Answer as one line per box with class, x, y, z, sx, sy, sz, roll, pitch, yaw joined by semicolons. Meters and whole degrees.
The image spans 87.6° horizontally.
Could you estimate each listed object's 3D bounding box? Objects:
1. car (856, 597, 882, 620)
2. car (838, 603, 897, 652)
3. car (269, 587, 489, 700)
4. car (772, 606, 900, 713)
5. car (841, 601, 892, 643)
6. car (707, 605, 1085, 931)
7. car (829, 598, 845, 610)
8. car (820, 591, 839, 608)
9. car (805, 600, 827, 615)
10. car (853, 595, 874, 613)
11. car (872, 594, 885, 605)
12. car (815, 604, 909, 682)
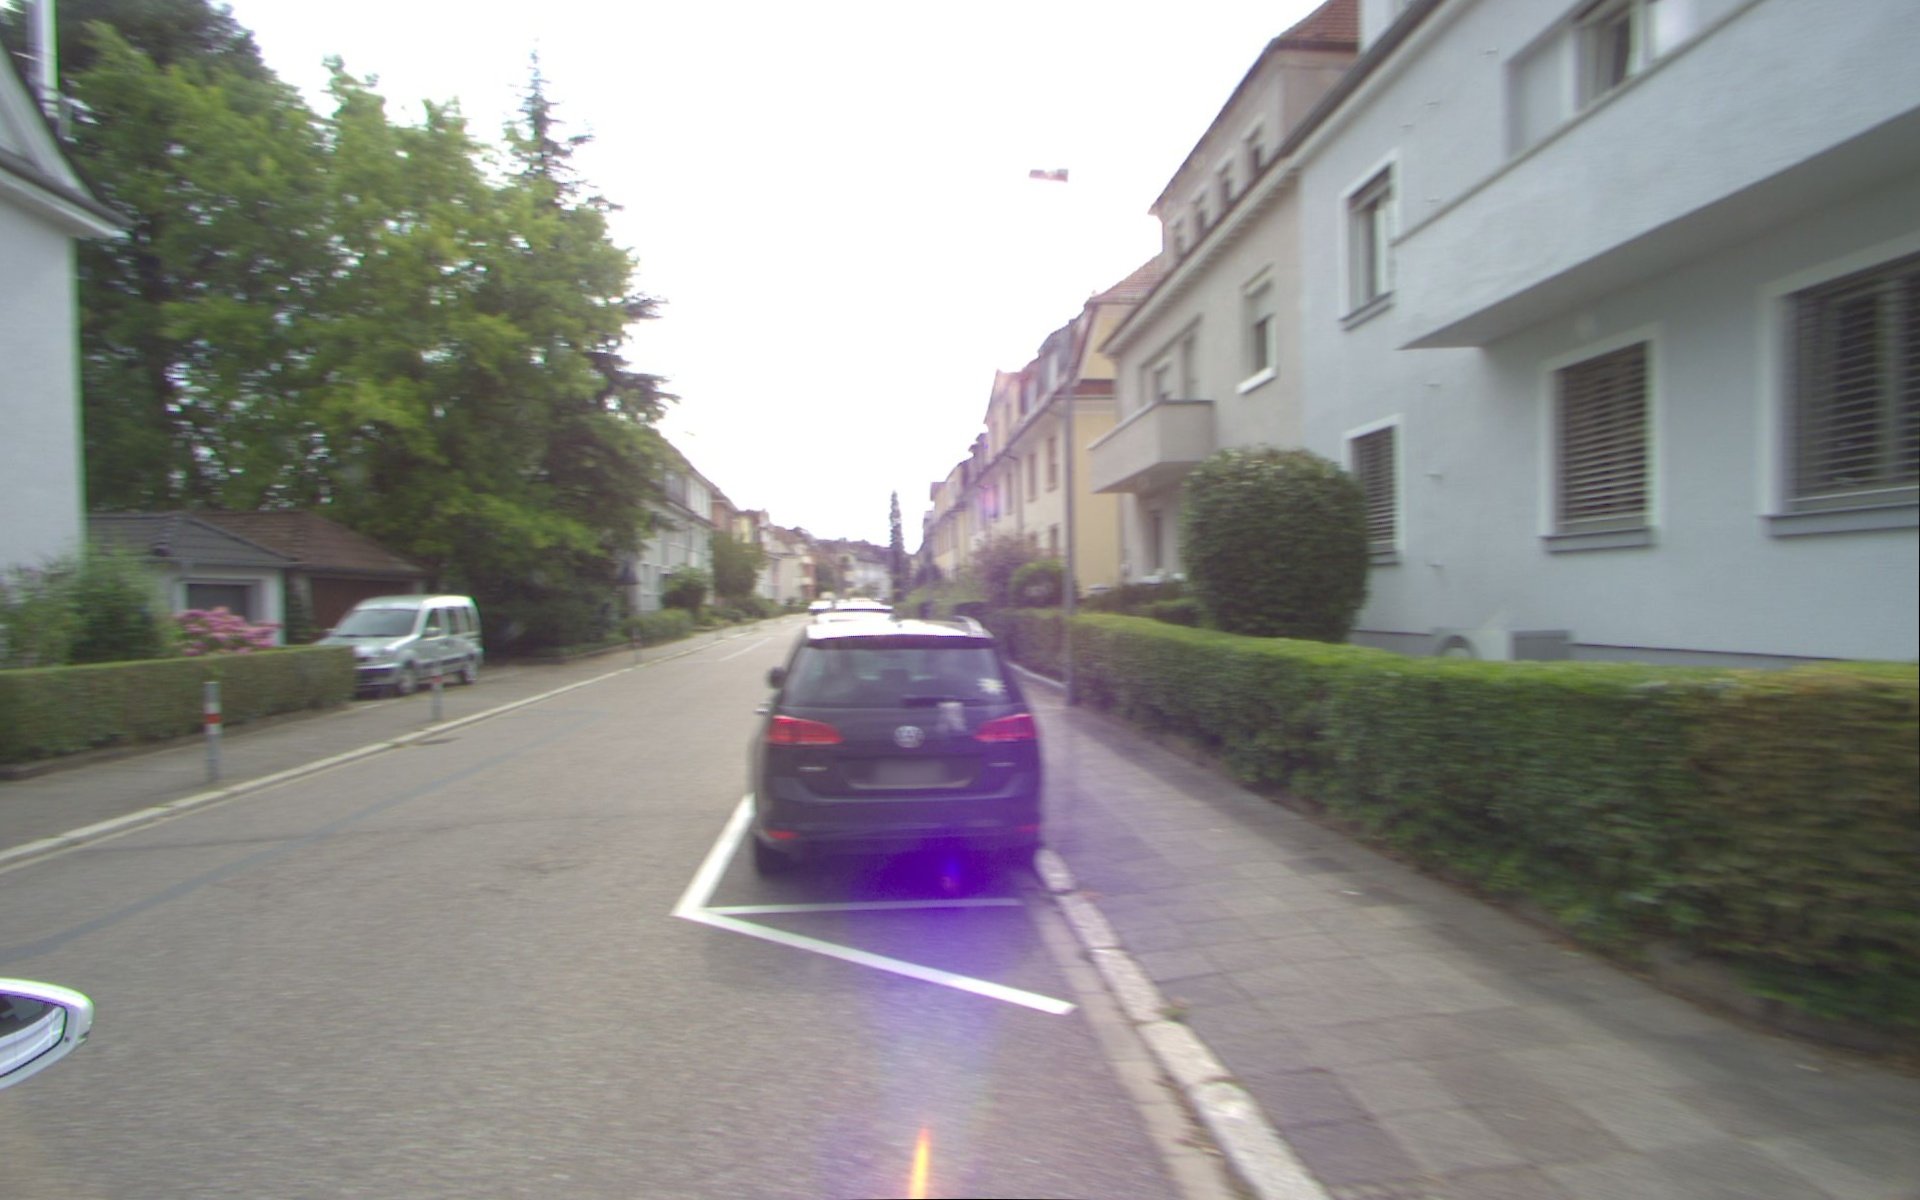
car;-6.623;0.616;73.304;1.824;1.599;4.174;-1;0;-4
car;-3.074;0.864;33.682;1.824;1.491;4.174;-1;0;-4
car;-10.709;0.722;18.854;1.961;1.862;3.999;-1;0;-4
car;-1.953;0.879;16.720;1.824;1.491;4.174;-1;0;-4
car;-3.572;0.814;38.770;1.824;1.491;4.174;-1;0;-4
car;-0.596;0.809;6.961;1.824;1.491;4.172;-1;0;-9
car;-17.268;0.514;140.728;1.961;1.662;3.999;-1;0;-2
car;-16.148;-0.066;124.193;1.961;2.040;3.999;-1;0;-3
car;-16.021;0.823;111.774;1.961;1.662;3.999;-1;0;-2
car;-8.883;0.357;91.979;1.824;1.599;4.173;-1;0;-5
car;-11.810;-0.058;146.129;1.824;1.599;4.174;-1;0;-4
car;-2.080;0.853;21.842;1.824;1.491;4.174;-1;0;-4
